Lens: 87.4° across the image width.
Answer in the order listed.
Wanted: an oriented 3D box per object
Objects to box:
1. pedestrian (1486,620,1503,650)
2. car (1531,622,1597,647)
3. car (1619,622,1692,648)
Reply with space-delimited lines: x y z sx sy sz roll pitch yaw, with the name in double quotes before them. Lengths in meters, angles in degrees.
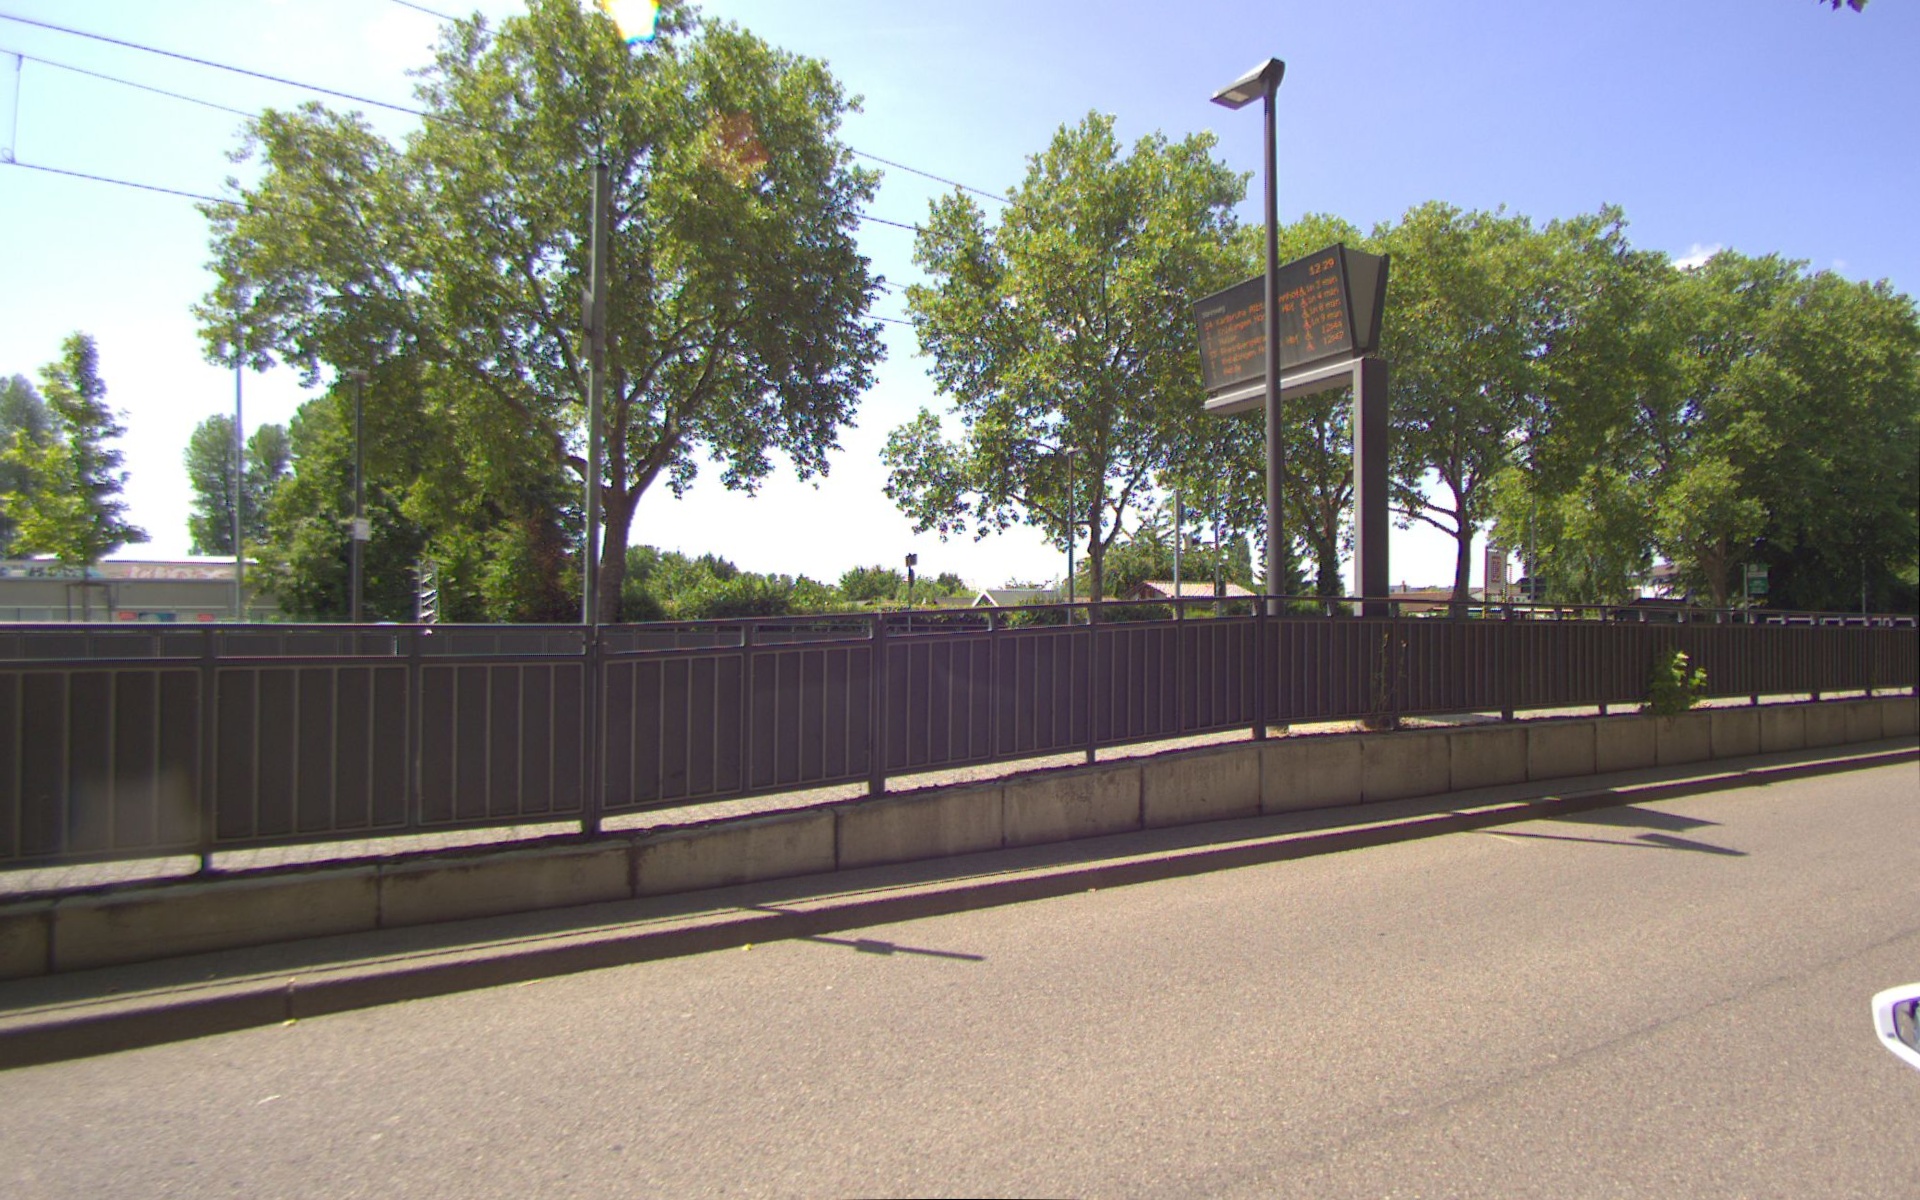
"pedestrian" 26.892 1.771 50.548 0.641 1.471 0.551 1 -1 -44
"car" 38.057 2.157 63.324 1.641 1.495 3.288 1 -1 -40
"car" 41.362 2.060 59.755 1.641 1.495 3.288 1 -1 -40
